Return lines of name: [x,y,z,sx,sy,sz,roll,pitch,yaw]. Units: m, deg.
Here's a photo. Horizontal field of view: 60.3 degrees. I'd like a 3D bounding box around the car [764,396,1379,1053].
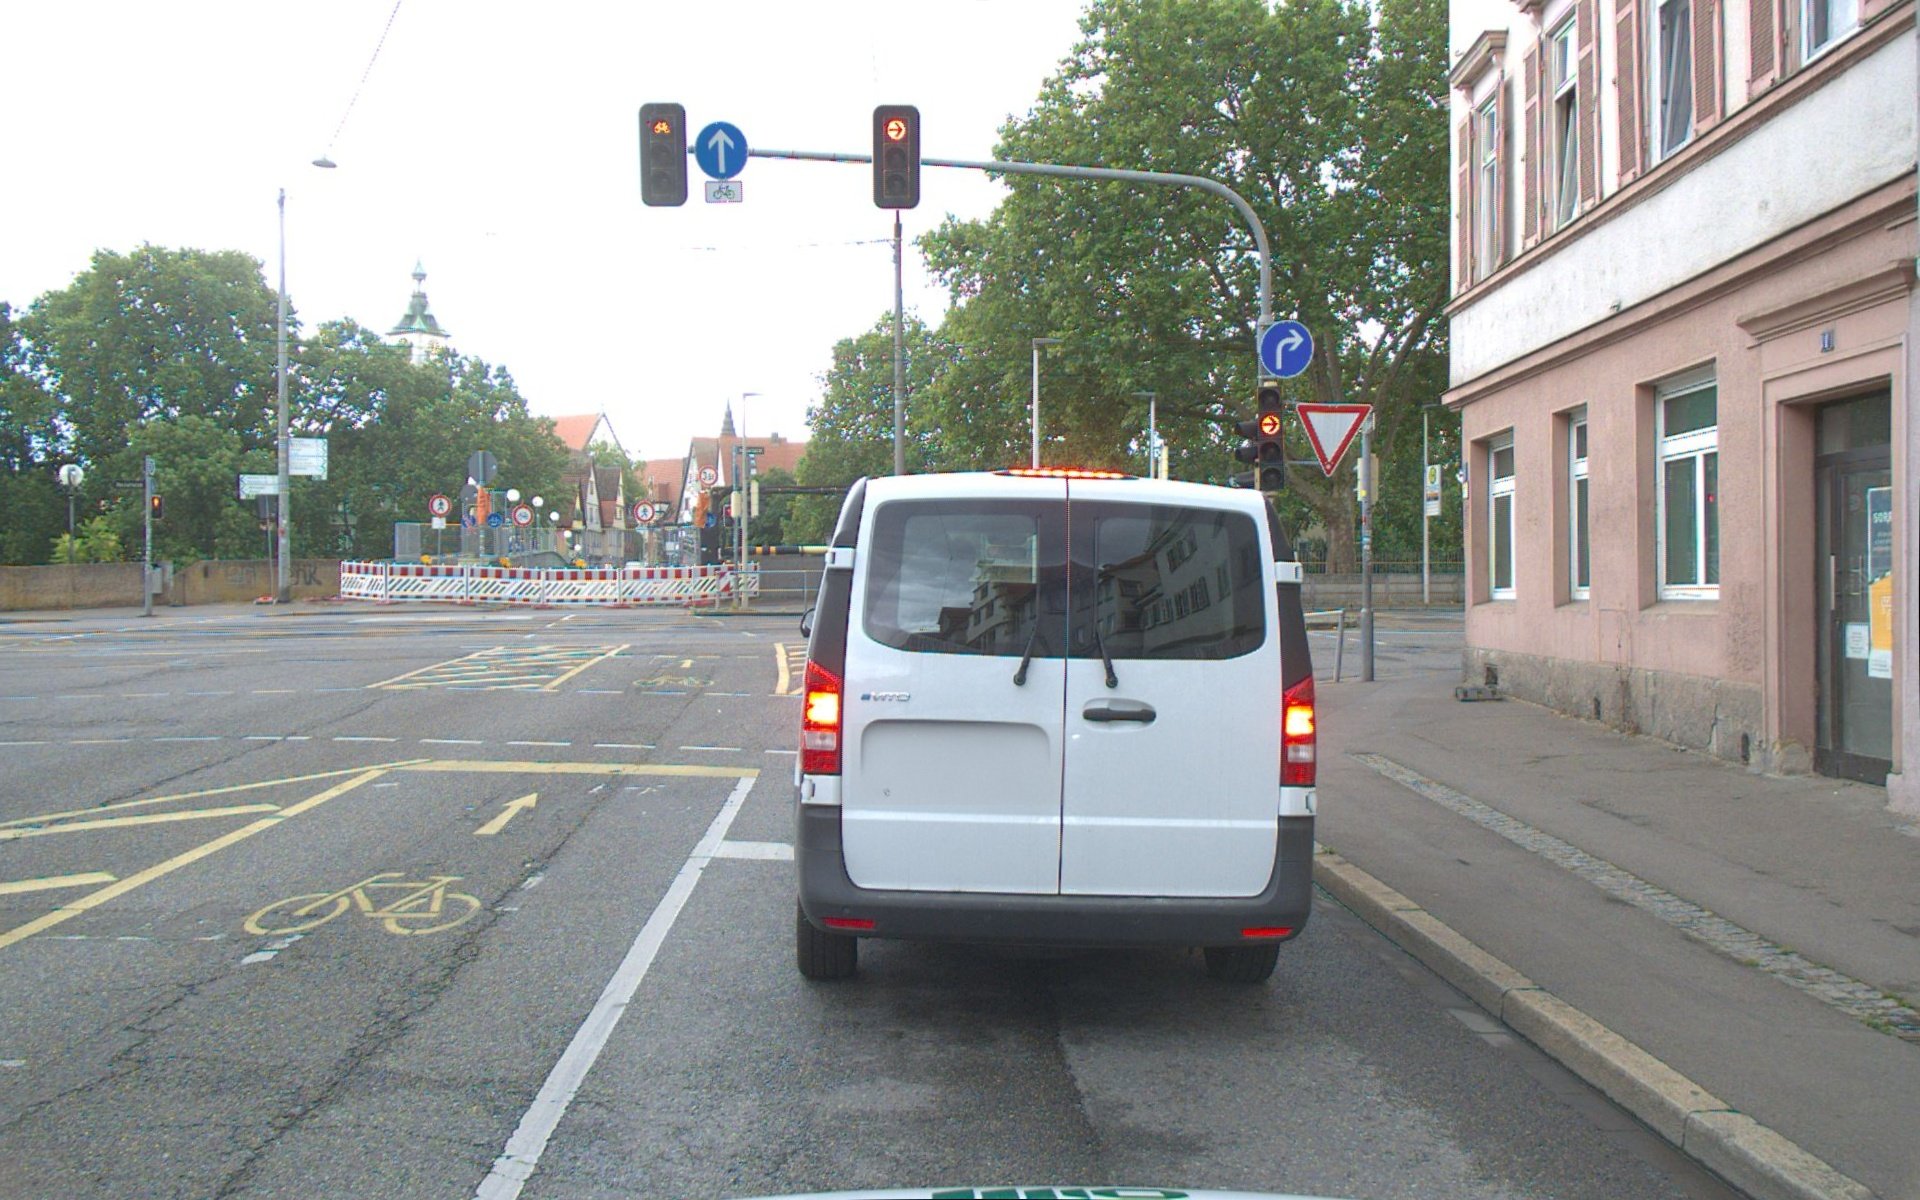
car: [0.320,0.335,7.571,1.911,2.048,4.698,1,2,-1]
